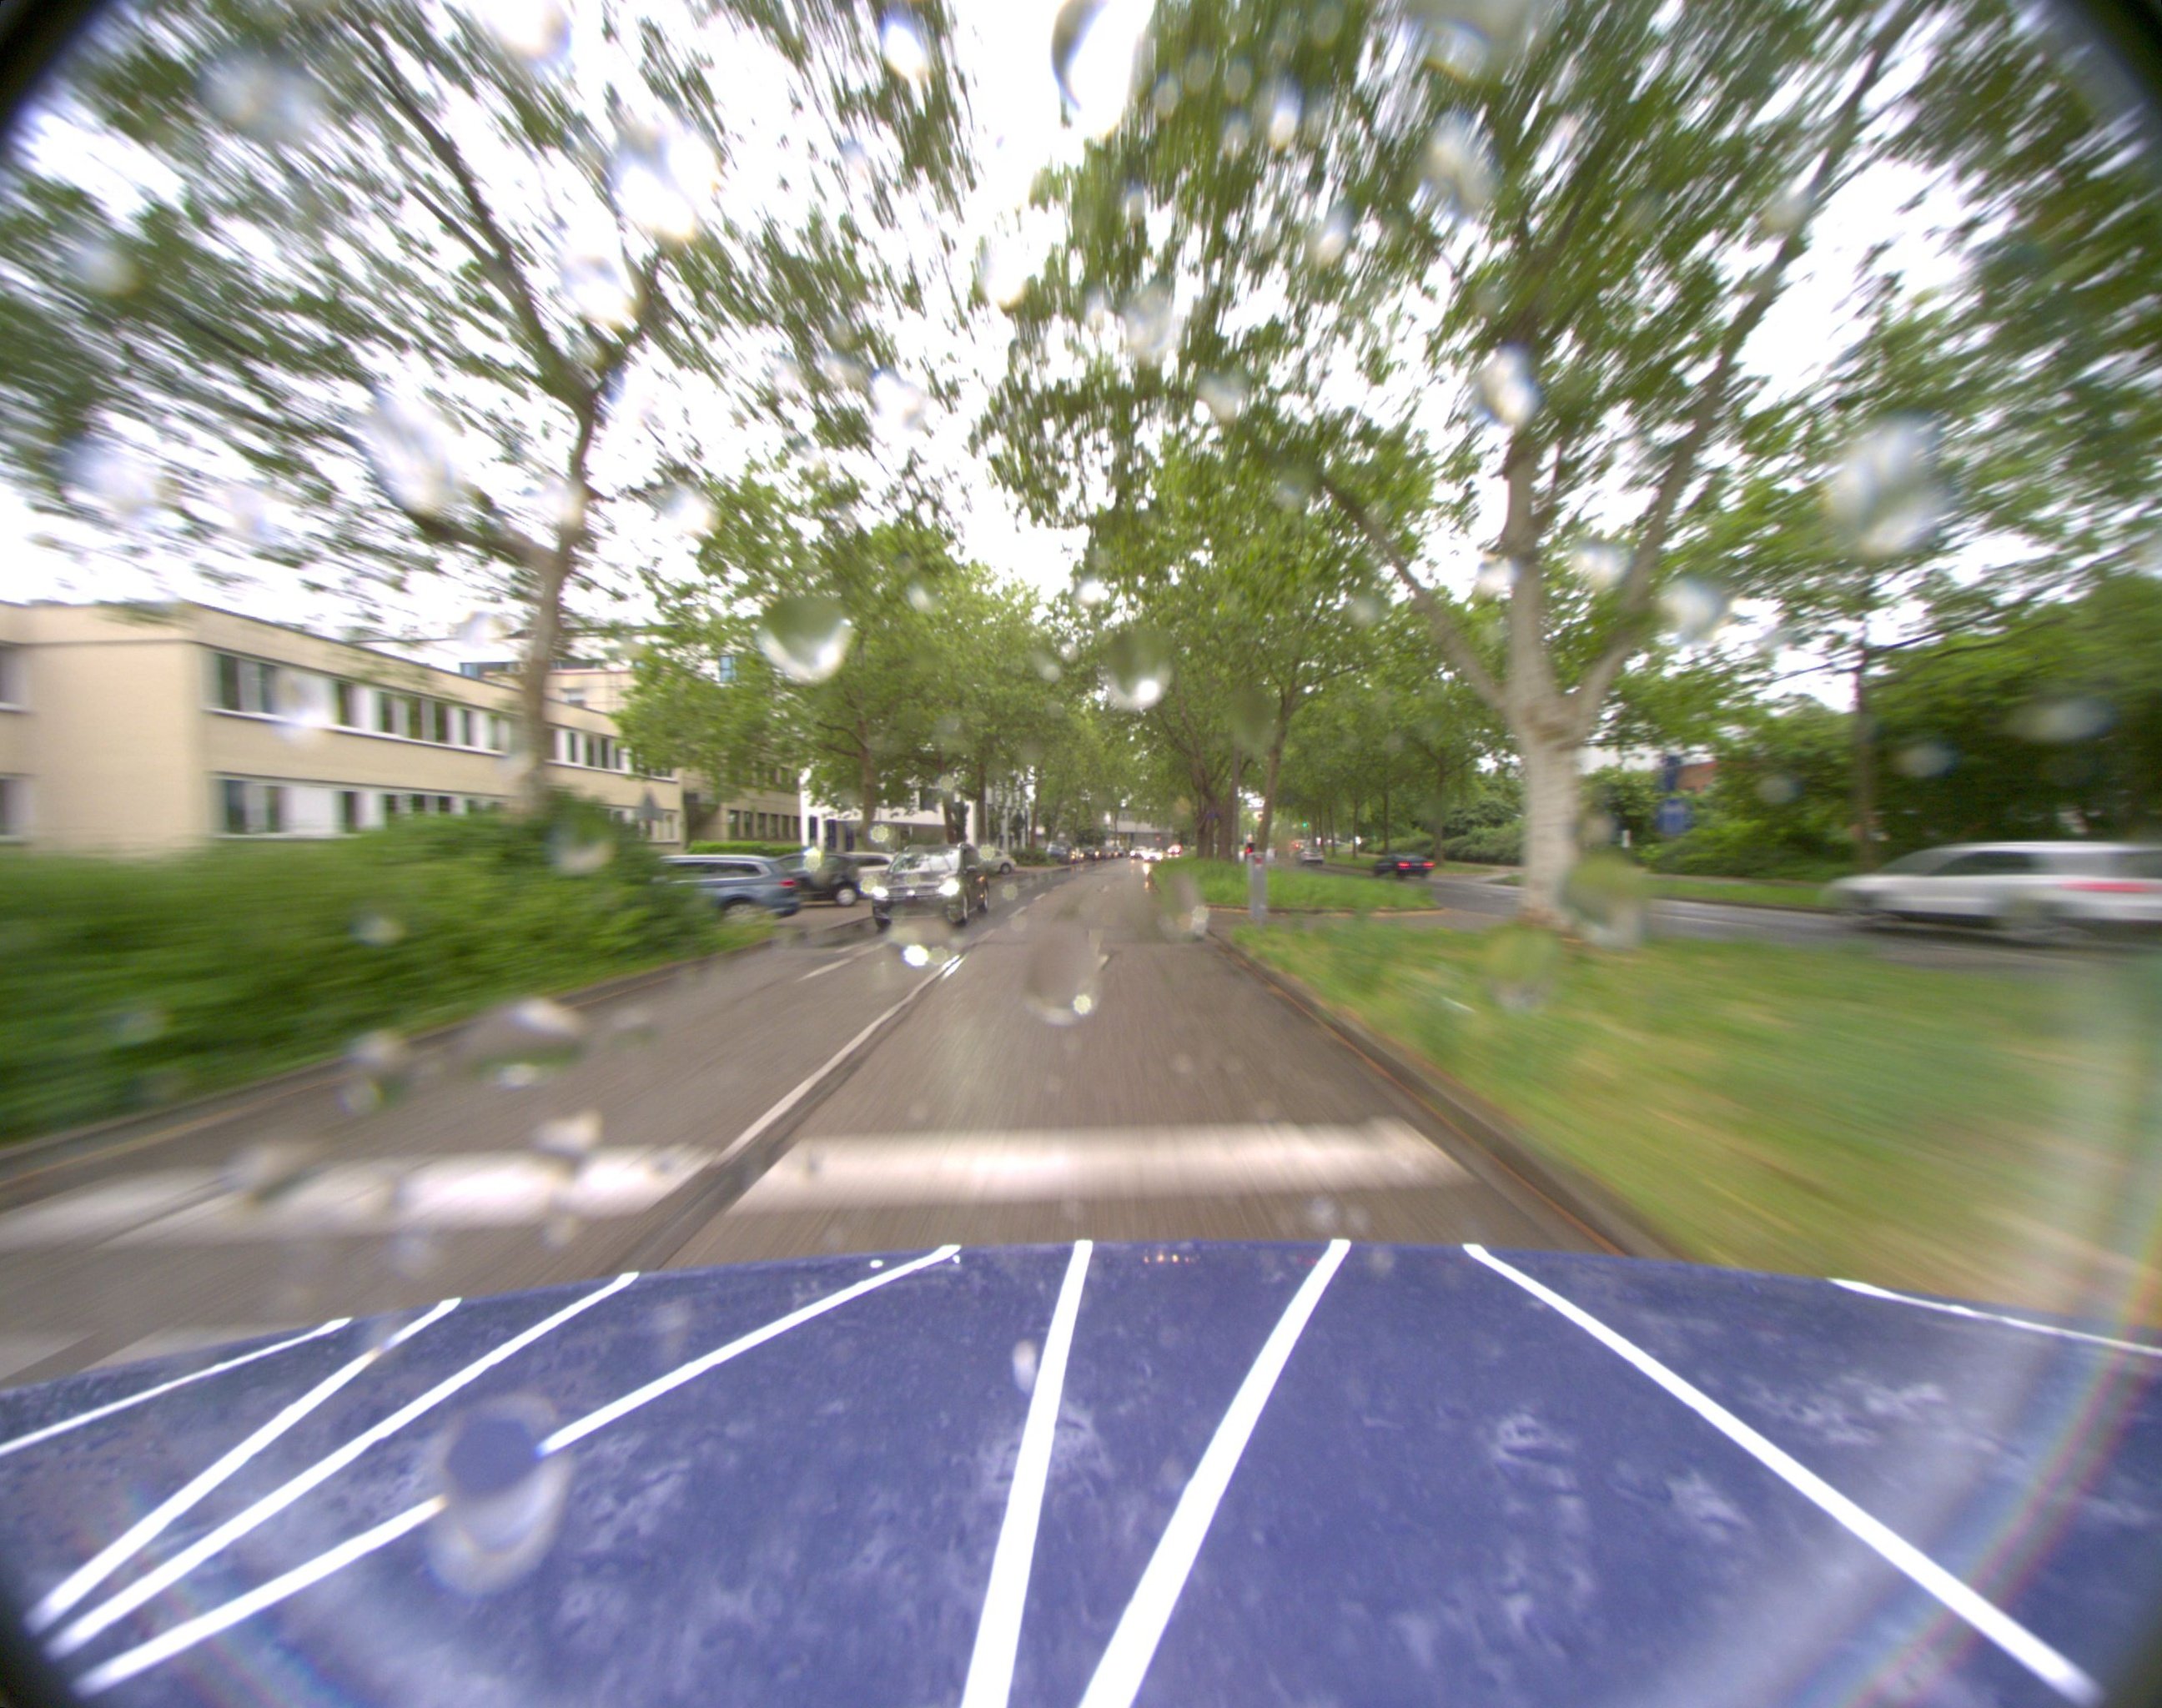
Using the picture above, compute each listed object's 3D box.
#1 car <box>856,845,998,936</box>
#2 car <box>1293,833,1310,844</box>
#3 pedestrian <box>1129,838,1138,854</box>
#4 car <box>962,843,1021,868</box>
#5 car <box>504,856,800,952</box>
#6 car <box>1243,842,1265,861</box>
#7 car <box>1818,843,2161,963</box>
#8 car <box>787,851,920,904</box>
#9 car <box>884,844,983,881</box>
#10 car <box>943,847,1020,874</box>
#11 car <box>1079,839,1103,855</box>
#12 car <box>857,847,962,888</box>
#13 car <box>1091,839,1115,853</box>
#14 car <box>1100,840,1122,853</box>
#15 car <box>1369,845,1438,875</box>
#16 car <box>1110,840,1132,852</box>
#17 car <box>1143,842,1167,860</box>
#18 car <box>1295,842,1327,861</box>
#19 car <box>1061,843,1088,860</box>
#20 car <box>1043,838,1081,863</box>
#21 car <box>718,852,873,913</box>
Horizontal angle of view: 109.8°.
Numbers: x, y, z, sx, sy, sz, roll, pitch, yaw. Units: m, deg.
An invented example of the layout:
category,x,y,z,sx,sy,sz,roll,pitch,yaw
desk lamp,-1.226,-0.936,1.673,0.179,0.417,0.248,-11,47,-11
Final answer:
category,x,y,z,sx,sy,sz,roll,pitch,yaw
car,-3.165,0.641,16.950,1.998,1.585,5.588,-1,1,0
car,44.906,-3.120,154.479,2.031,2.214,5.444,0,2,31
pedestrian,6.796,-1.049,98.224,0.901,2.002,0.831,-1,2,-23
car,-5.654,0.076,47.936,3.647,1.496,1.747,0,0,-9
car,-7.718,0.825,14.161,4.501,1.450,1.745,-1,2,-24
car,17.591,-0.262,77.484,1.746,1.831,5.122,-1,1,9
car,15.584,0.660,12.904,1.748,1.622,4.442,-1,1,-2
car,-7.022,0.674,23.433,3.697,1.408,1.771,-1,2,-25
car,-6.627,0.344,34.259,4.043,1.530,1.745,-1,2,-26
car,-5.695,0.343,43.449,4.043,1.420,1.745,-1,2,-24
car,1.035,-0.731,77.400,1.746,1.557,4.374,0,1,11
car,-6.559,0.486,29.029,3.696,1.408,1.745,-1,2,-21
car,2.470,-0.895,84.202,1.746,1.468,4.086,0,1,14
car,3.586,-0.868,90.298,1.746,1.420,5.107,0,1,12
car,16.436,0.279,38.964,1.747,1.430,4.445,-1,0,2
car,5.086,-1.023,96.684,1.745,1.420,4.864,2,2,16
car,7.444,-0.313,75.935,1.997,1.620,4.524,-1,1,11
car,19.078,-0.255,63.164,1.747,1.468,4.236,-1,1,7
car,-0.548,-0.242,70.987,1.746,1.461,4.308,0,1,11
car,-1.533,-0.309,64.793,2.125,2.017,5.531,0,1,11
car,-7.594,0.703,20.261,3.697,1.408,1.745,-1,2,-25
